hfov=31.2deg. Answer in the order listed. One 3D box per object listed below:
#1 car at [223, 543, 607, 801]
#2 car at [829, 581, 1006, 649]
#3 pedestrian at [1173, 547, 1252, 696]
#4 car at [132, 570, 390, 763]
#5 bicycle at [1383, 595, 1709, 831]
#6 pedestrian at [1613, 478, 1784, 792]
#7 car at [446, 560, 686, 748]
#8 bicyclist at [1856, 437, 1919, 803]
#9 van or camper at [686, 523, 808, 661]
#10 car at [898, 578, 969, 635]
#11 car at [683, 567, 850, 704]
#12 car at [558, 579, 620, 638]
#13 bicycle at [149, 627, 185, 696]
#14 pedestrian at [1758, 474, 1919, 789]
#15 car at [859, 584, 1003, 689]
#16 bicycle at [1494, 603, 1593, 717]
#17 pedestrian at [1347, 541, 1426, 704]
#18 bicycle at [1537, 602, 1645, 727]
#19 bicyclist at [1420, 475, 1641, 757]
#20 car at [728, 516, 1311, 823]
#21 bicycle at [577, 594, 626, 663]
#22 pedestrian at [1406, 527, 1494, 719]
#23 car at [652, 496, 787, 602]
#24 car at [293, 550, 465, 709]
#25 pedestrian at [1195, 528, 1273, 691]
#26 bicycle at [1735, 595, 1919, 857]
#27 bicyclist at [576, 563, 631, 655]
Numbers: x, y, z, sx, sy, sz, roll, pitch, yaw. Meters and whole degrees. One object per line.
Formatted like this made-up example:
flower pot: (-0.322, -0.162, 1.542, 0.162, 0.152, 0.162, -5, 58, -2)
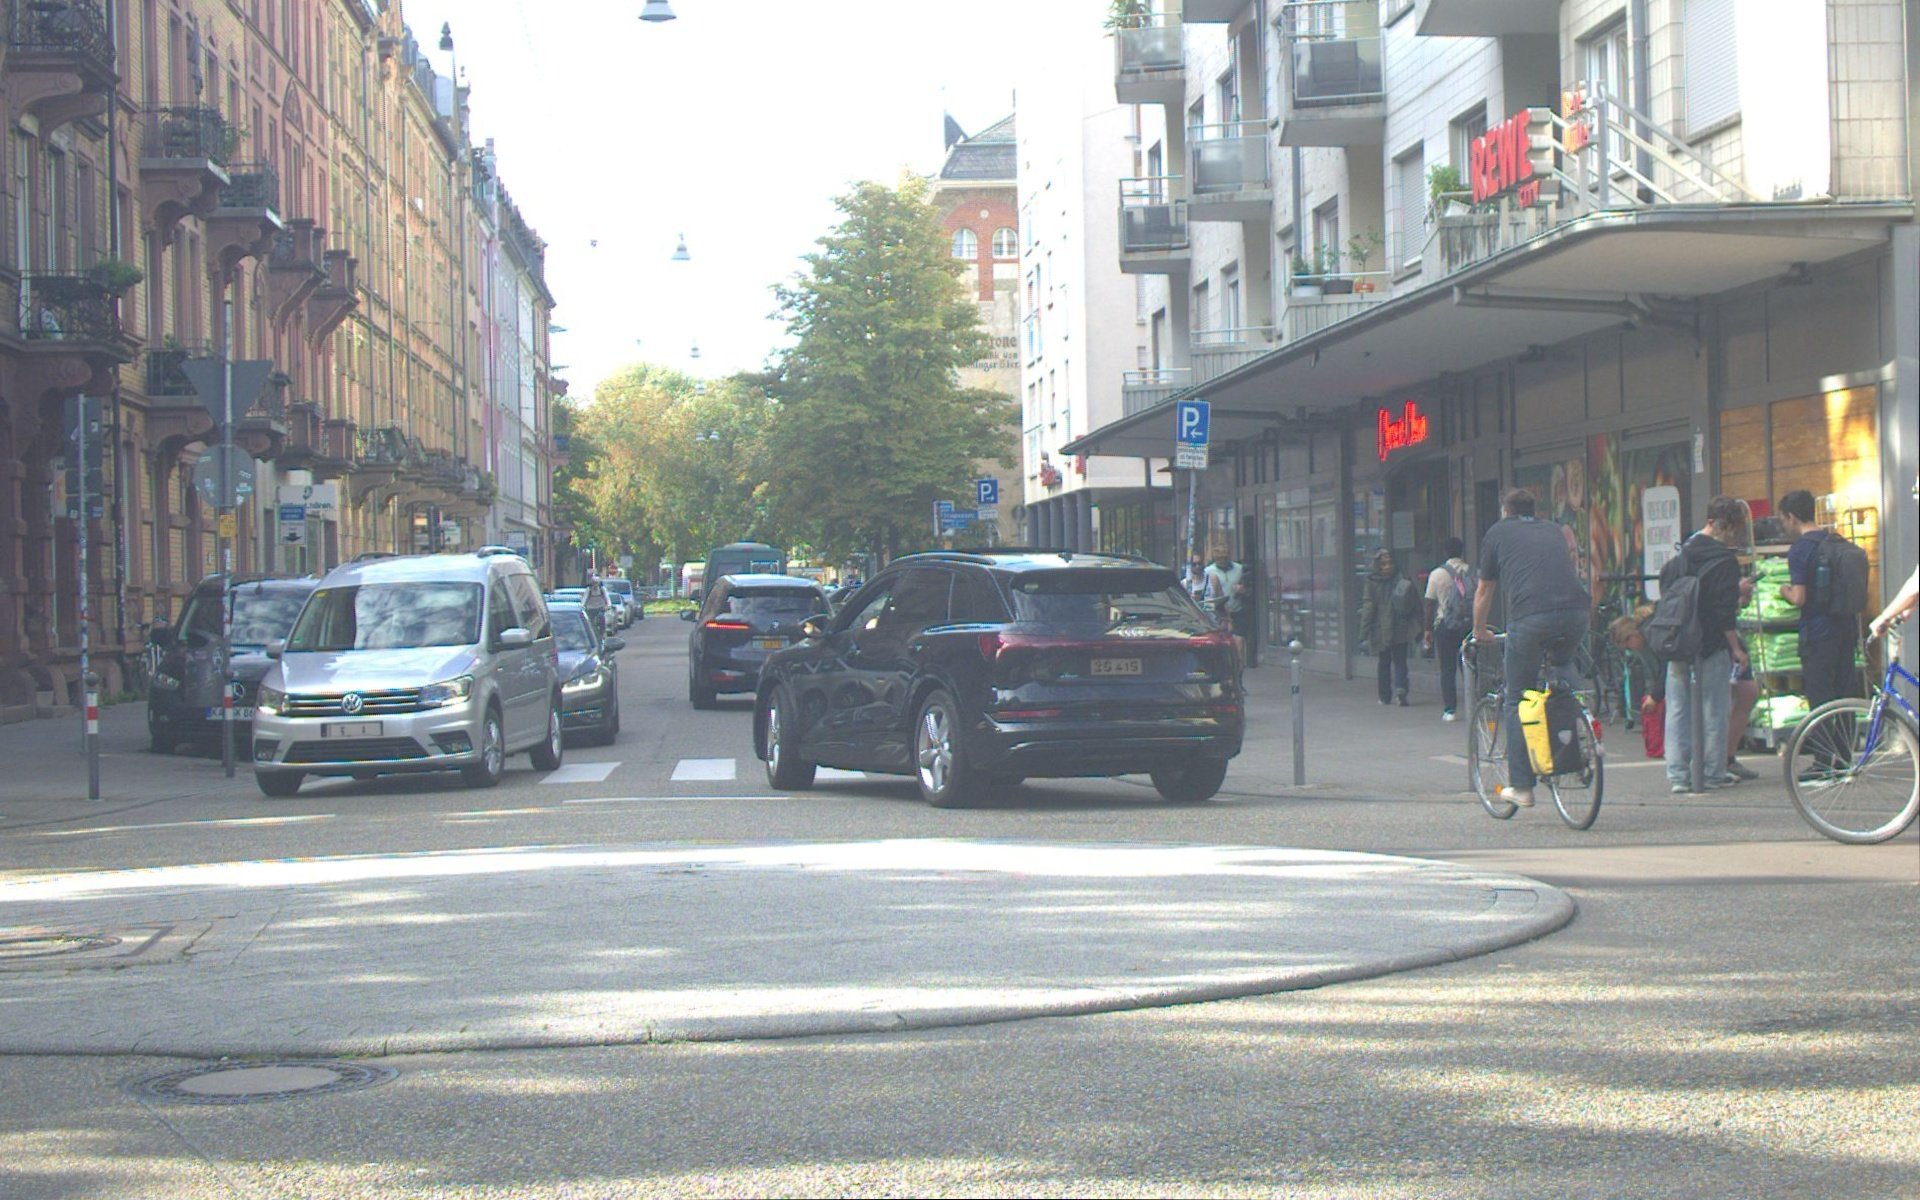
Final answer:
car: (-4.158, 0.491, 27.029, 1.793, 1.784, 4.735, -2, 0, 5)
car: (-1.027, 0.343, 81.410, 3.986, 1.481, 2.000, -2, 0, -6)
pedestrian: (2.781, 0.232, 37.844, 0.730, 1.605, 0.790, -1, 0, 11)
car: (-6.981, 0.611, 34.751, 1.782, 1.718, 4.445, 0, 2, -1)
bicycle: (3.097, 0.564, 18.480, 0.665, 1.174, 2.498, 0, 0, -17)
pedestrian: (4.443, 0.208, 20.724, 0.869, 1.845, 0.612, -1, 0, 2)
car: (-3.972, 0.497, 35.375, 1.928, 1.719, 4.736, -3, 1, -1)
bicyclist: (4.812, 0.080, 15.920, 1.015, 1.663, 0.942, -1, 0, 32)
van or camper: (-4.918, -0.199, 78.843, 2.531, 3.027, 4.459, -1, 0, -6)
car: (-0.709, 0.156, 89.147, 1.645, 1.320, 3.577, -4, 1, -2)
car: (-2.488, 0.420, 43.821, 1.993, 1.612, 4.001, -1, 0, -4)
car: (-12.986, 0.283, 120.514, 1.993, 2.007, 4.001, -1, 0, -4)
bicycle: (-11.430, 0.881, 49.557, 0.360, 0.944, 1.716, 0, 0, -8)
pedestrian: (5.321, 0.183, 20.682, 0.869, 1.845, 0.612, -1, 0, 2)
car: (-0.484, 0.524, 52.652, 1.993, 1.481, 4.000, -2, 0, -3)
bicycle: (5.316, 0.533, 31.390, 0.360, 0.995, 1.716, -1, 0, -8)
pedestrian: (4.342, 0.226, 34.987, 0.745, 1.623, 0.812, -1, 0, 8)
bicycle: (5.315, 0.532, 29.027, 0.362, 1.013, 1.431, -1, 0, -12)
bicyclist: (3.061, 0.083, 18.474, 0.933, 1.479, 0.747, 0, 0, -17)
car: (0.240, 0.369, 22.861, 2.035, 1.718, 4.847, -3, 2, -22)
bicycle: (-7.911, 0.618, 75.788, 0.925, 1.484, 3.465, 1, 0, -8)
pedestrian: (4.426, 0.202, 31.084, 0.741, 1.707, 0.733, -1, 0, 8)
car: (-3.677, -0.822, 53.242, 1.810, 1.482, 4.163, -3, 2, -1)
car: (-7.877, 0.371, 46.908, 1.993, 2.007, 4.001, -2, 0, -6)
pedestrian: (3.201, 0.102, 40.094, 0.730, 1.858, 1.062, -1, 0, 11)
bicycle: (4.696, 0.575, 16.016, 1.972, 1.195, 0.711, -1, 0, 34)
bicyclist: (-7.862, 0.200, 75.830, 1.132, 1.991, 1.028, 1, 0, -8)
